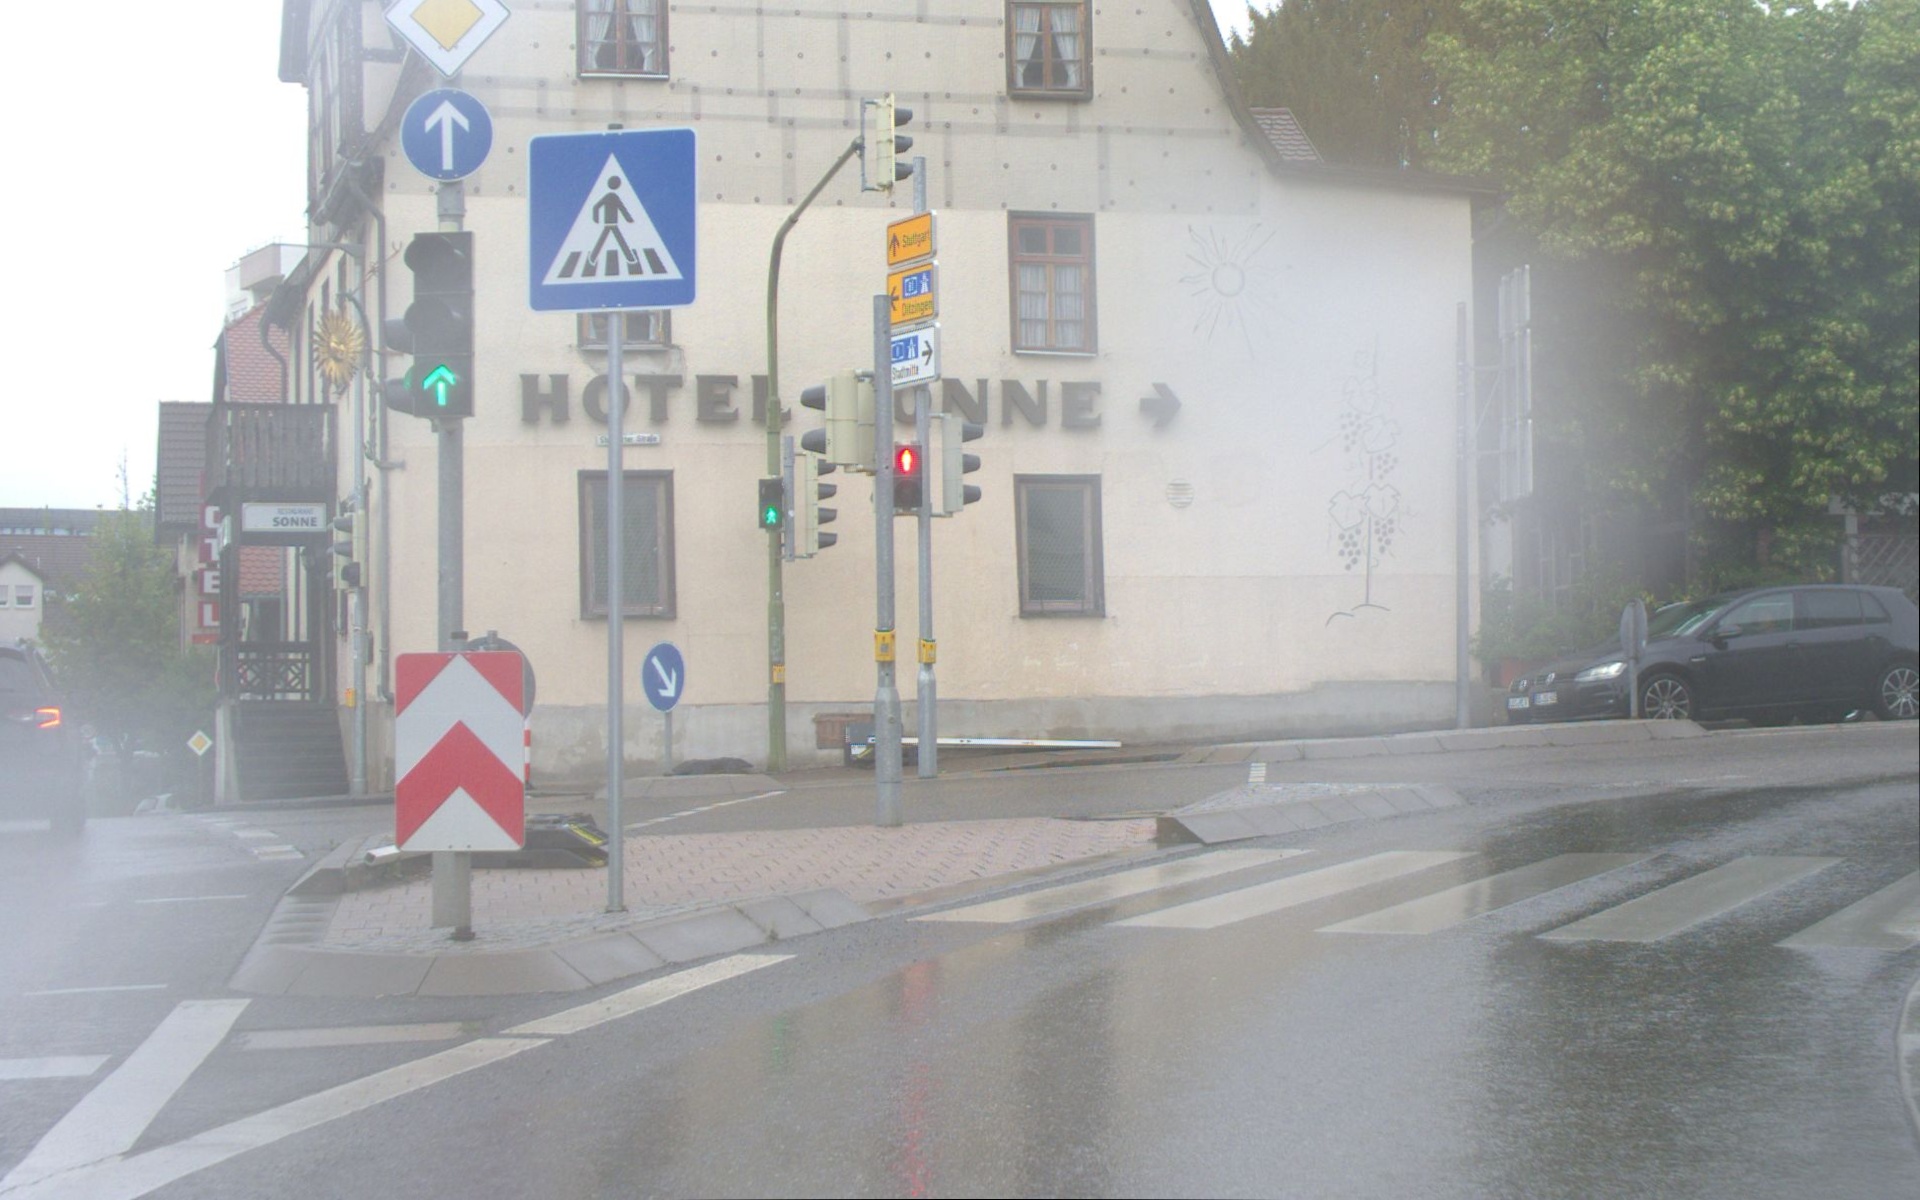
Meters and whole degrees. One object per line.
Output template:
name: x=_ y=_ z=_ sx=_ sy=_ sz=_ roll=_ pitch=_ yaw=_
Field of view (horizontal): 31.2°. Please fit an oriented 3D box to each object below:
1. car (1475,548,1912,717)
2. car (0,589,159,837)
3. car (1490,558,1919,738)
car: x=7.890 y=0.358 z=37.069 sx=4.171 sy=1.514 sz=1.779 roll=-3 pitch=-3 yaw=-17
car: x=-7.319 y=0.786 z=26.009 sx=1.944 sy=1.561 sz=4.418 roll=-1 pitch=2 yaw=-7
car: x=7.675 y=0.467 z=34.246 sx=4.301 sy=1.499 sz=1.779 roll=-3 pitch=-3 yaw=-18
